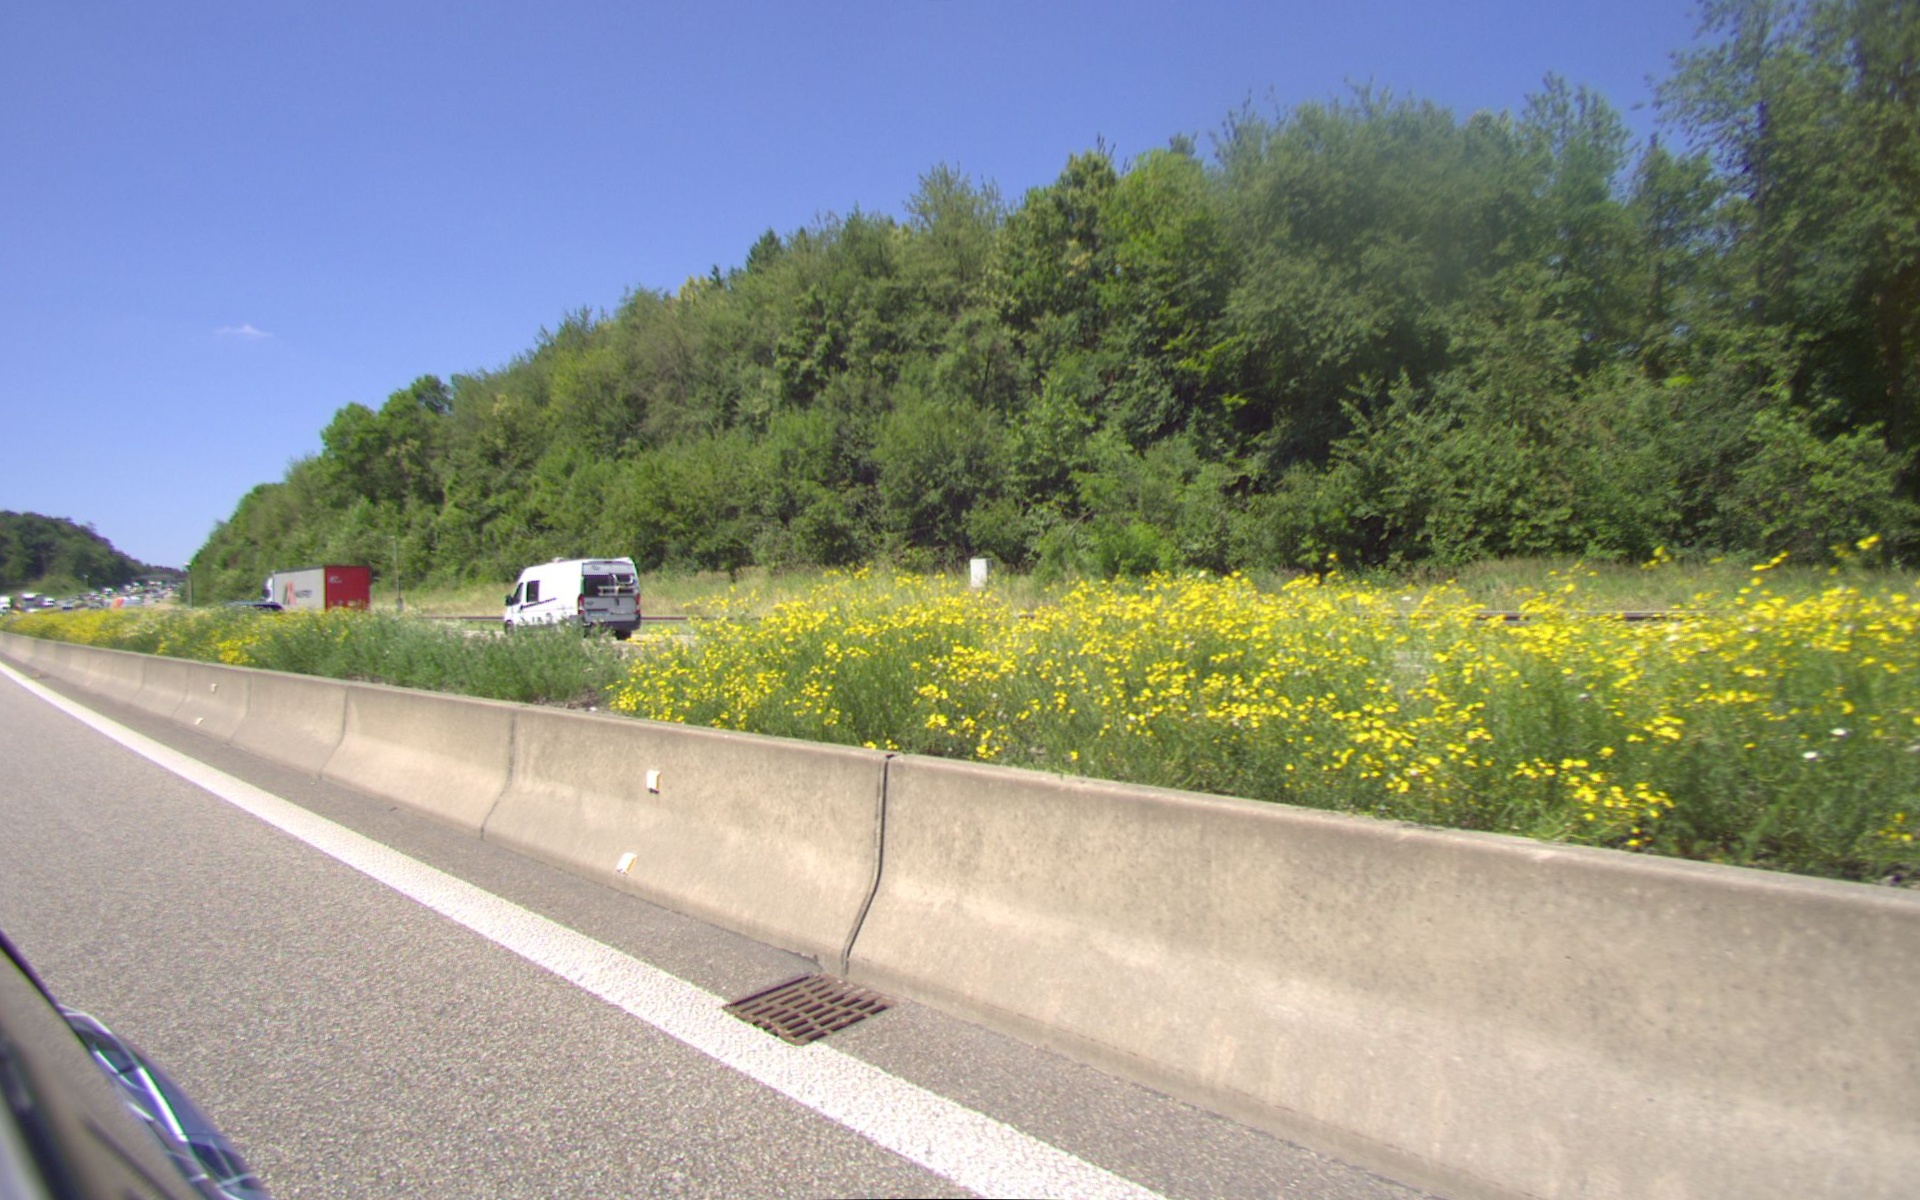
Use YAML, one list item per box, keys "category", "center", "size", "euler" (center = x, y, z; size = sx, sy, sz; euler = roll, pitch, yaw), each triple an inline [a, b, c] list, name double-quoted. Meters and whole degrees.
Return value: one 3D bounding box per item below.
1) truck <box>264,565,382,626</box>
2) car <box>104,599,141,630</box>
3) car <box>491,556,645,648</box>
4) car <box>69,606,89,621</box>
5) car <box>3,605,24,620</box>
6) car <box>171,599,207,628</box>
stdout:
- category: "truck"
  center: [-43.867, -0.202, 69.247]
  size: [3.875, 3.746, 16.758]
  euler: [-1, 0, -43]
- category: "car"
  center: [-69.544, 1.211, 84.028]
  size: [1.971, 2.417, 4.002]
  euler: [-1, 0, -45]
- category: "car"
  center: [-12.486, 0.078, 32.009]
  size: [5.975, 2.643, 2.133]
  euler: [-1, 0, 43]
- category: "car"
  center: [-125.192, 1.972, 143.775]
  size: [1.970, 2.029, 4.003]
  euler: [-2, 0, -44]
- category: "car"
  center: [-134.547, 1.752, 143.842]
  size: [1.971, 2.029, 4.002]
  euler: [-2, 0, -45]
- category: "car"
  center: [-67.099, 1.178, 88.083]
  size: [1.971, 2.417, 4.002]
  euler: [-1, 0, -45]
